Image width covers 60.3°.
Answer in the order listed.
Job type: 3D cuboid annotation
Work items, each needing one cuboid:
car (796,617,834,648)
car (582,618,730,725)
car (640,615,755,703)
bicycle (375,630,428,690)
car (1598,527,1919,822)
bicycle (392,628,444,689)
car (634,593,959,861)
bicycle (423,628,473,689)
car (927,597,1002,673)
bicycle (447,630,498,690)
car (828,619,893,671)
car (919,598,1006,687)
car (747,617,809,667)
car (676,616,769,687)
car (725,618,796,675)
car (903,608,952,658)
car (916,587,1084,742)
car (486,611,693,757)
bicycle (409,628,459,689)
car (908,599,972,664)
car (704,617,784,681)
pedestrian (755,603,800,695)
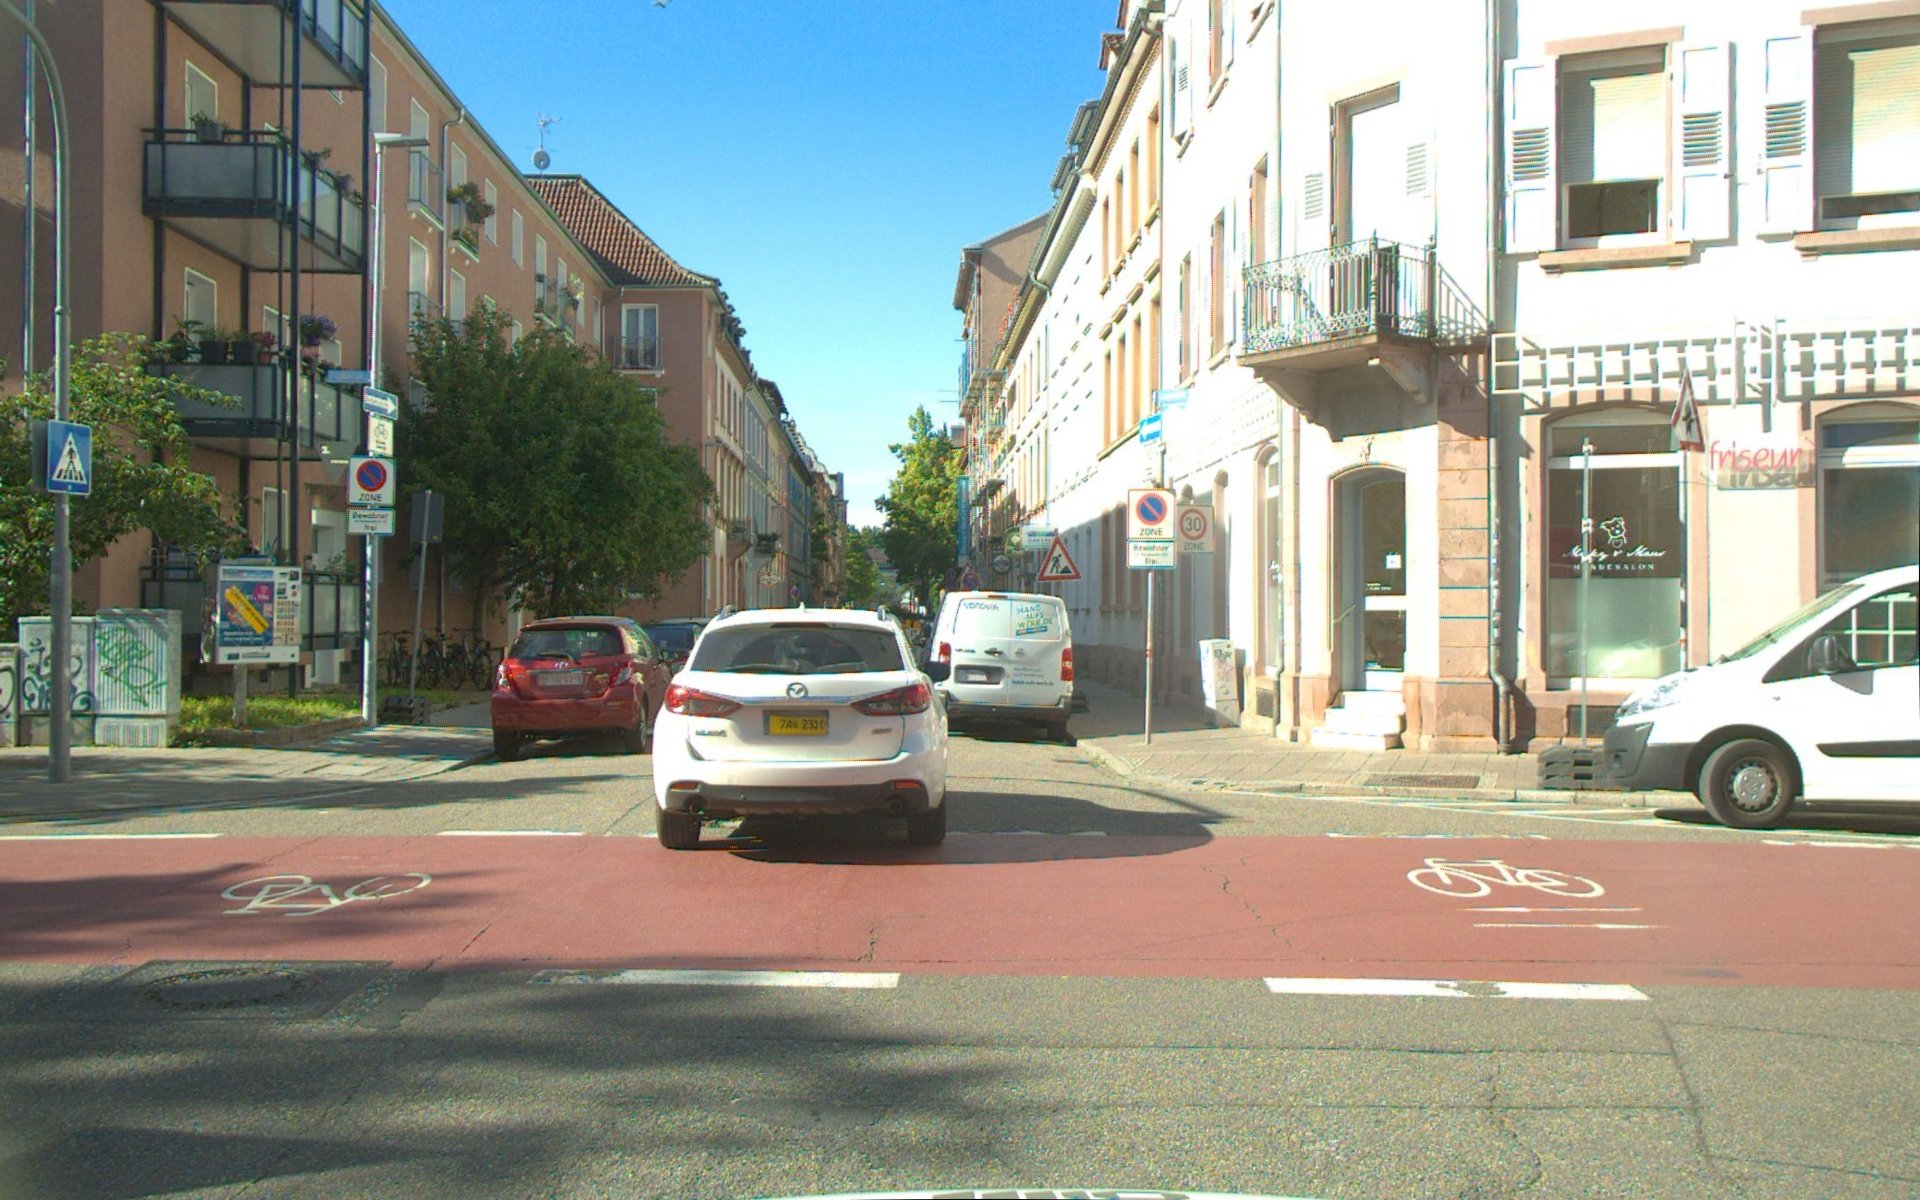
[{"bbox_3d":[-7.227,1.600,82.734,1.620,1.526,3.761,0,-1,-1],"label":"car"},{"bbox_3d":[-4.610,1.045,25.613,1.620,1.526,4.078,0,-1,-1],"label":"car"},{"bbox_3d":[-4.824,1.050,30.830,1.620,1.526,3.761,0,-1,-1],"label":"car"},{"bbox_3d":[-10.080,1.067,29.853,1.193,1.053,0.290,0,-1,38],"label":"bicycle"},{"bbox_3d":[7.244,0.512,11.894,4.907,1.980,2.050,0,-1,23],"label":"car"},{"bbox_3d":[-9.872,1.060,30.101,1.193,1.091,0.265,0,-1,38],"label":"bicycle"},{"bbox_3d":[-0.955,0.755,11.183,1.794,1.483,3.960,0,-2,-2],"label":"car"},{"bbox_3d":[-9.484,1.074,30.617,1.193,1.090,0.252,0,-1,38],"label":"bicycle"},{"bbox_3d":[0.079,0.899,43.330,1.856,1.892,3.993,0,-1,-1],"label":"car"},{"bbox_3d":[-9.049,1.099,30.700,1.196,1.090,0.252,0,-1,38],"label":"bicycle"},{"bbox_3d":[-2.845,1.267,48.213,1.725,1.435,4.326,0,-1,-1],"label":"car"},{"bbox_3d":[0.012,0.938,37.310,1.856,1.892,3.993,0,-1,-1],"label":"car"},{"bbox_3d":[-5.714,1.303,52.161,1.620,1.526,3.761,0,-1,-1],"label":"car"},{"bbox_3d":[-5.317,1.130,37.378,1.620,1.526,3.761,0,-1,-1],"label":"car"},{"bbox_3d":[-5.578,1.281,46.629,1.620,1.526,3.761,0,-1,-1],"label":"car"},{"bbox_3d":[-1.264,1.264,64.724,1.856,1.892,3.993,0,-1,-1],"label":"car"},{"bbox_3d":[0.442,0.843,23.413,1.857,1.892,5.009,2,-1,-4],"label":"car"},{"bbox_3d":[-4.281,0.924,19.641,1.651,1.526,3.805,-1,-1,-1],"label":"car"},{"bbox_3d":[-9.665,1.063,30.379,1.193,1.089,0.252,0,-1,38],"label":"bicycle"},{"bbox_3d":[-0.660,1.025,54.217,1.857,1.891,3.993,-5,-1,-1],"label":"car"},{"bbox_3d":[-5.421,1.210,41.880,1.620,1.526,3.761,0,-1,-1],"label":"car"},{"bbox_3d":[-3.332,0.880,30.145,0.720,1.642,0.813,0,-1,-14],"label":"pedestrian"}]
